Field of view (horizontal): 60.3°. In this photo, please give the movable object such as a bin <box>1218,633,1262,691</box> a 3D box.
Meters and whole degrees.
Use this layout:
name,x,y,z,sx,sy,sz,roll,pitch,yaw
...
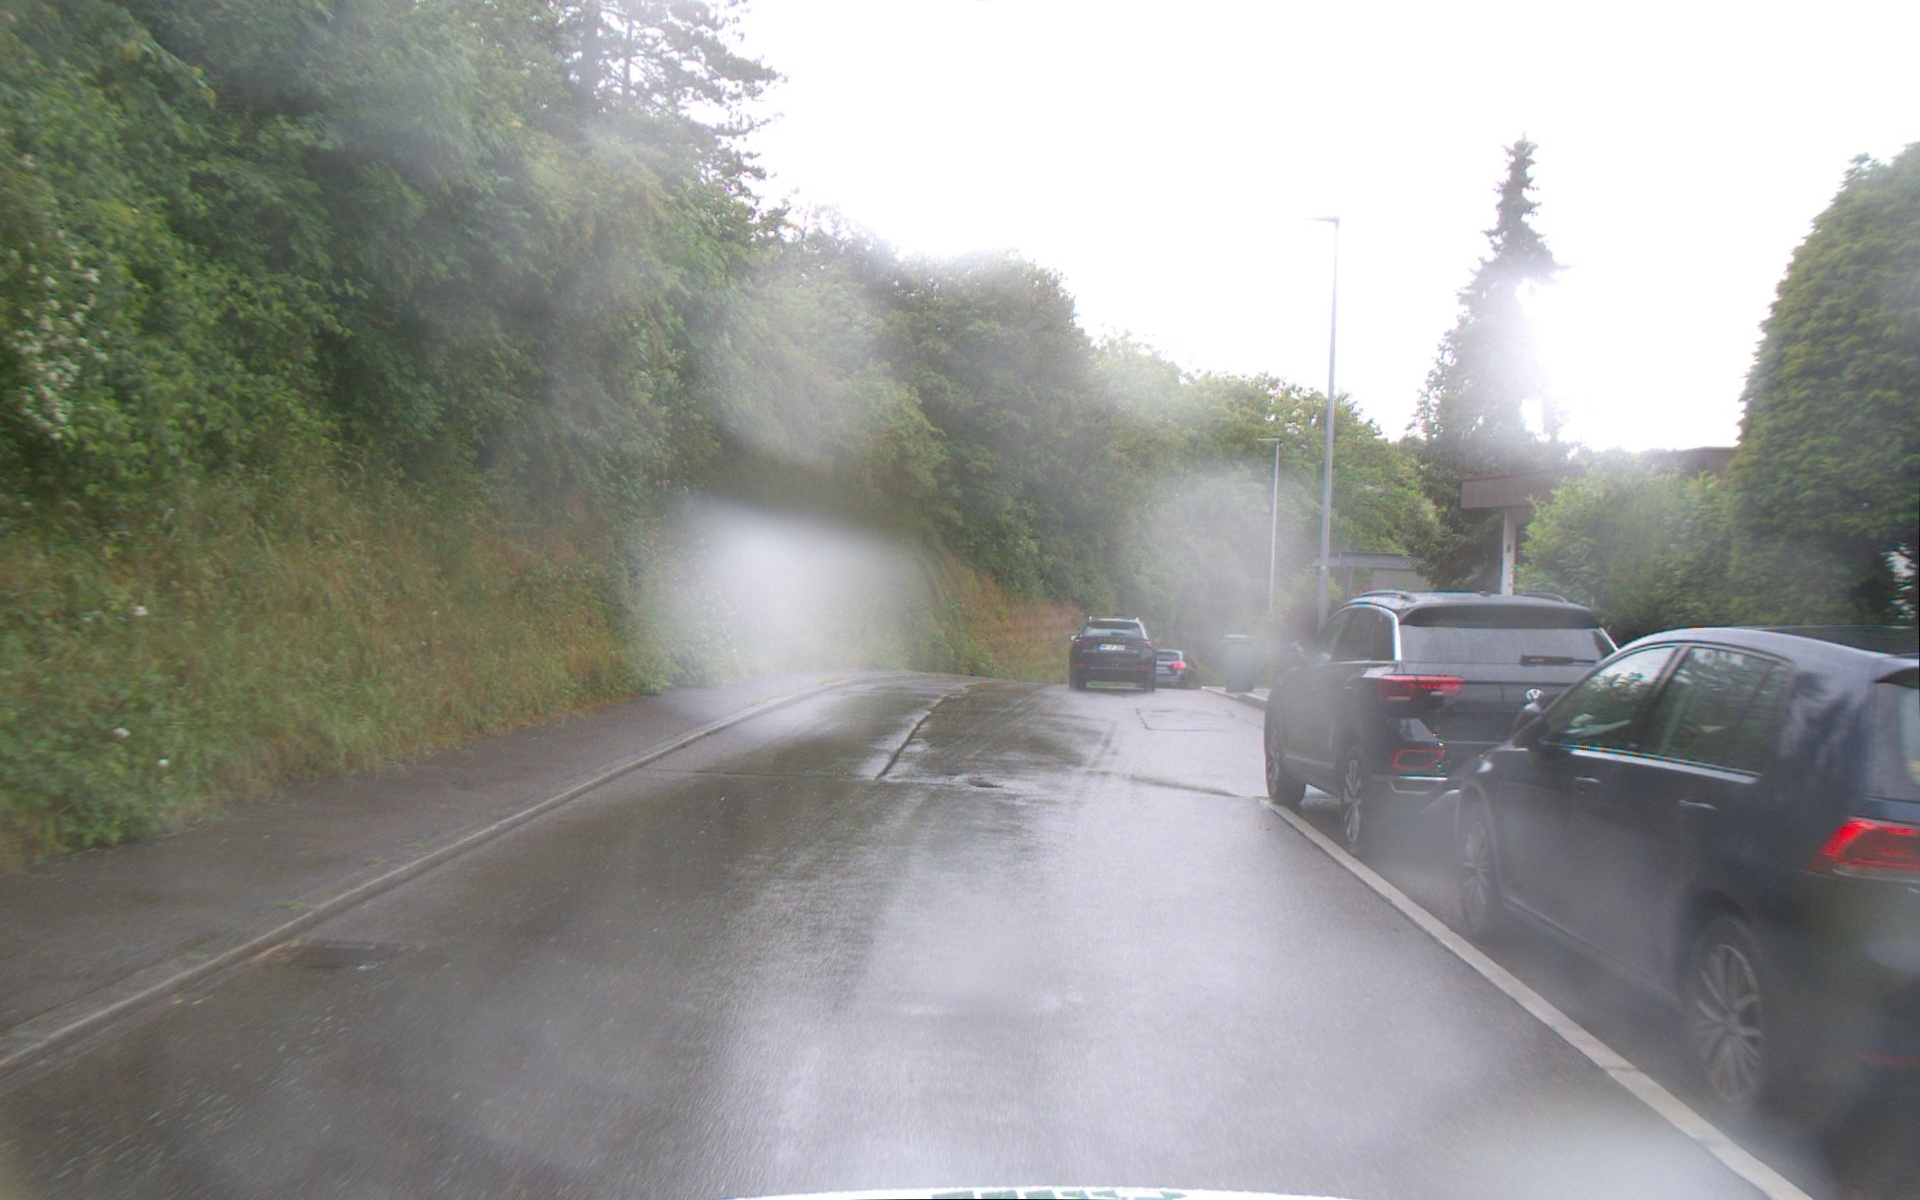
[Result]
name,x,y,z,sx,sy,sz,roll,pitch,yaw
movable object such as a bin,5.590,1.236,33.019,0.773,1.115,0.675,-2,-2,4

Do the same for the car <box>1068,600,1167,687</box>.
name,x,y,z,sx,sy,sz,roll,pitch,yaw
car,3.221,0.955,34.172,1.829,1.539,4.094,4,-3,5

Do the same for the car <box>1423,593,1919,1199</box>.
name,x,y,z,sx,sy,sz,roll,pitch,yaw
car,3.176,0.769,6.190,1.719,1.487,4.302,2,1,1

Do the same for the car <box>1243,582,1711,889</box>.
name,x,y,z,sx,sy,sz,roll,pitch,yaw
car,3.216,0.719,11.299,1.836,1.619,4.480,2,1,1

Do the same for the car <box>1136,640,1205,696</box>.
name,x,y,z,sx,sy,sz,roll,pitch,yaw
car,7.393,2.337,57.739,1.951,1.633,4.413,2,1,12
